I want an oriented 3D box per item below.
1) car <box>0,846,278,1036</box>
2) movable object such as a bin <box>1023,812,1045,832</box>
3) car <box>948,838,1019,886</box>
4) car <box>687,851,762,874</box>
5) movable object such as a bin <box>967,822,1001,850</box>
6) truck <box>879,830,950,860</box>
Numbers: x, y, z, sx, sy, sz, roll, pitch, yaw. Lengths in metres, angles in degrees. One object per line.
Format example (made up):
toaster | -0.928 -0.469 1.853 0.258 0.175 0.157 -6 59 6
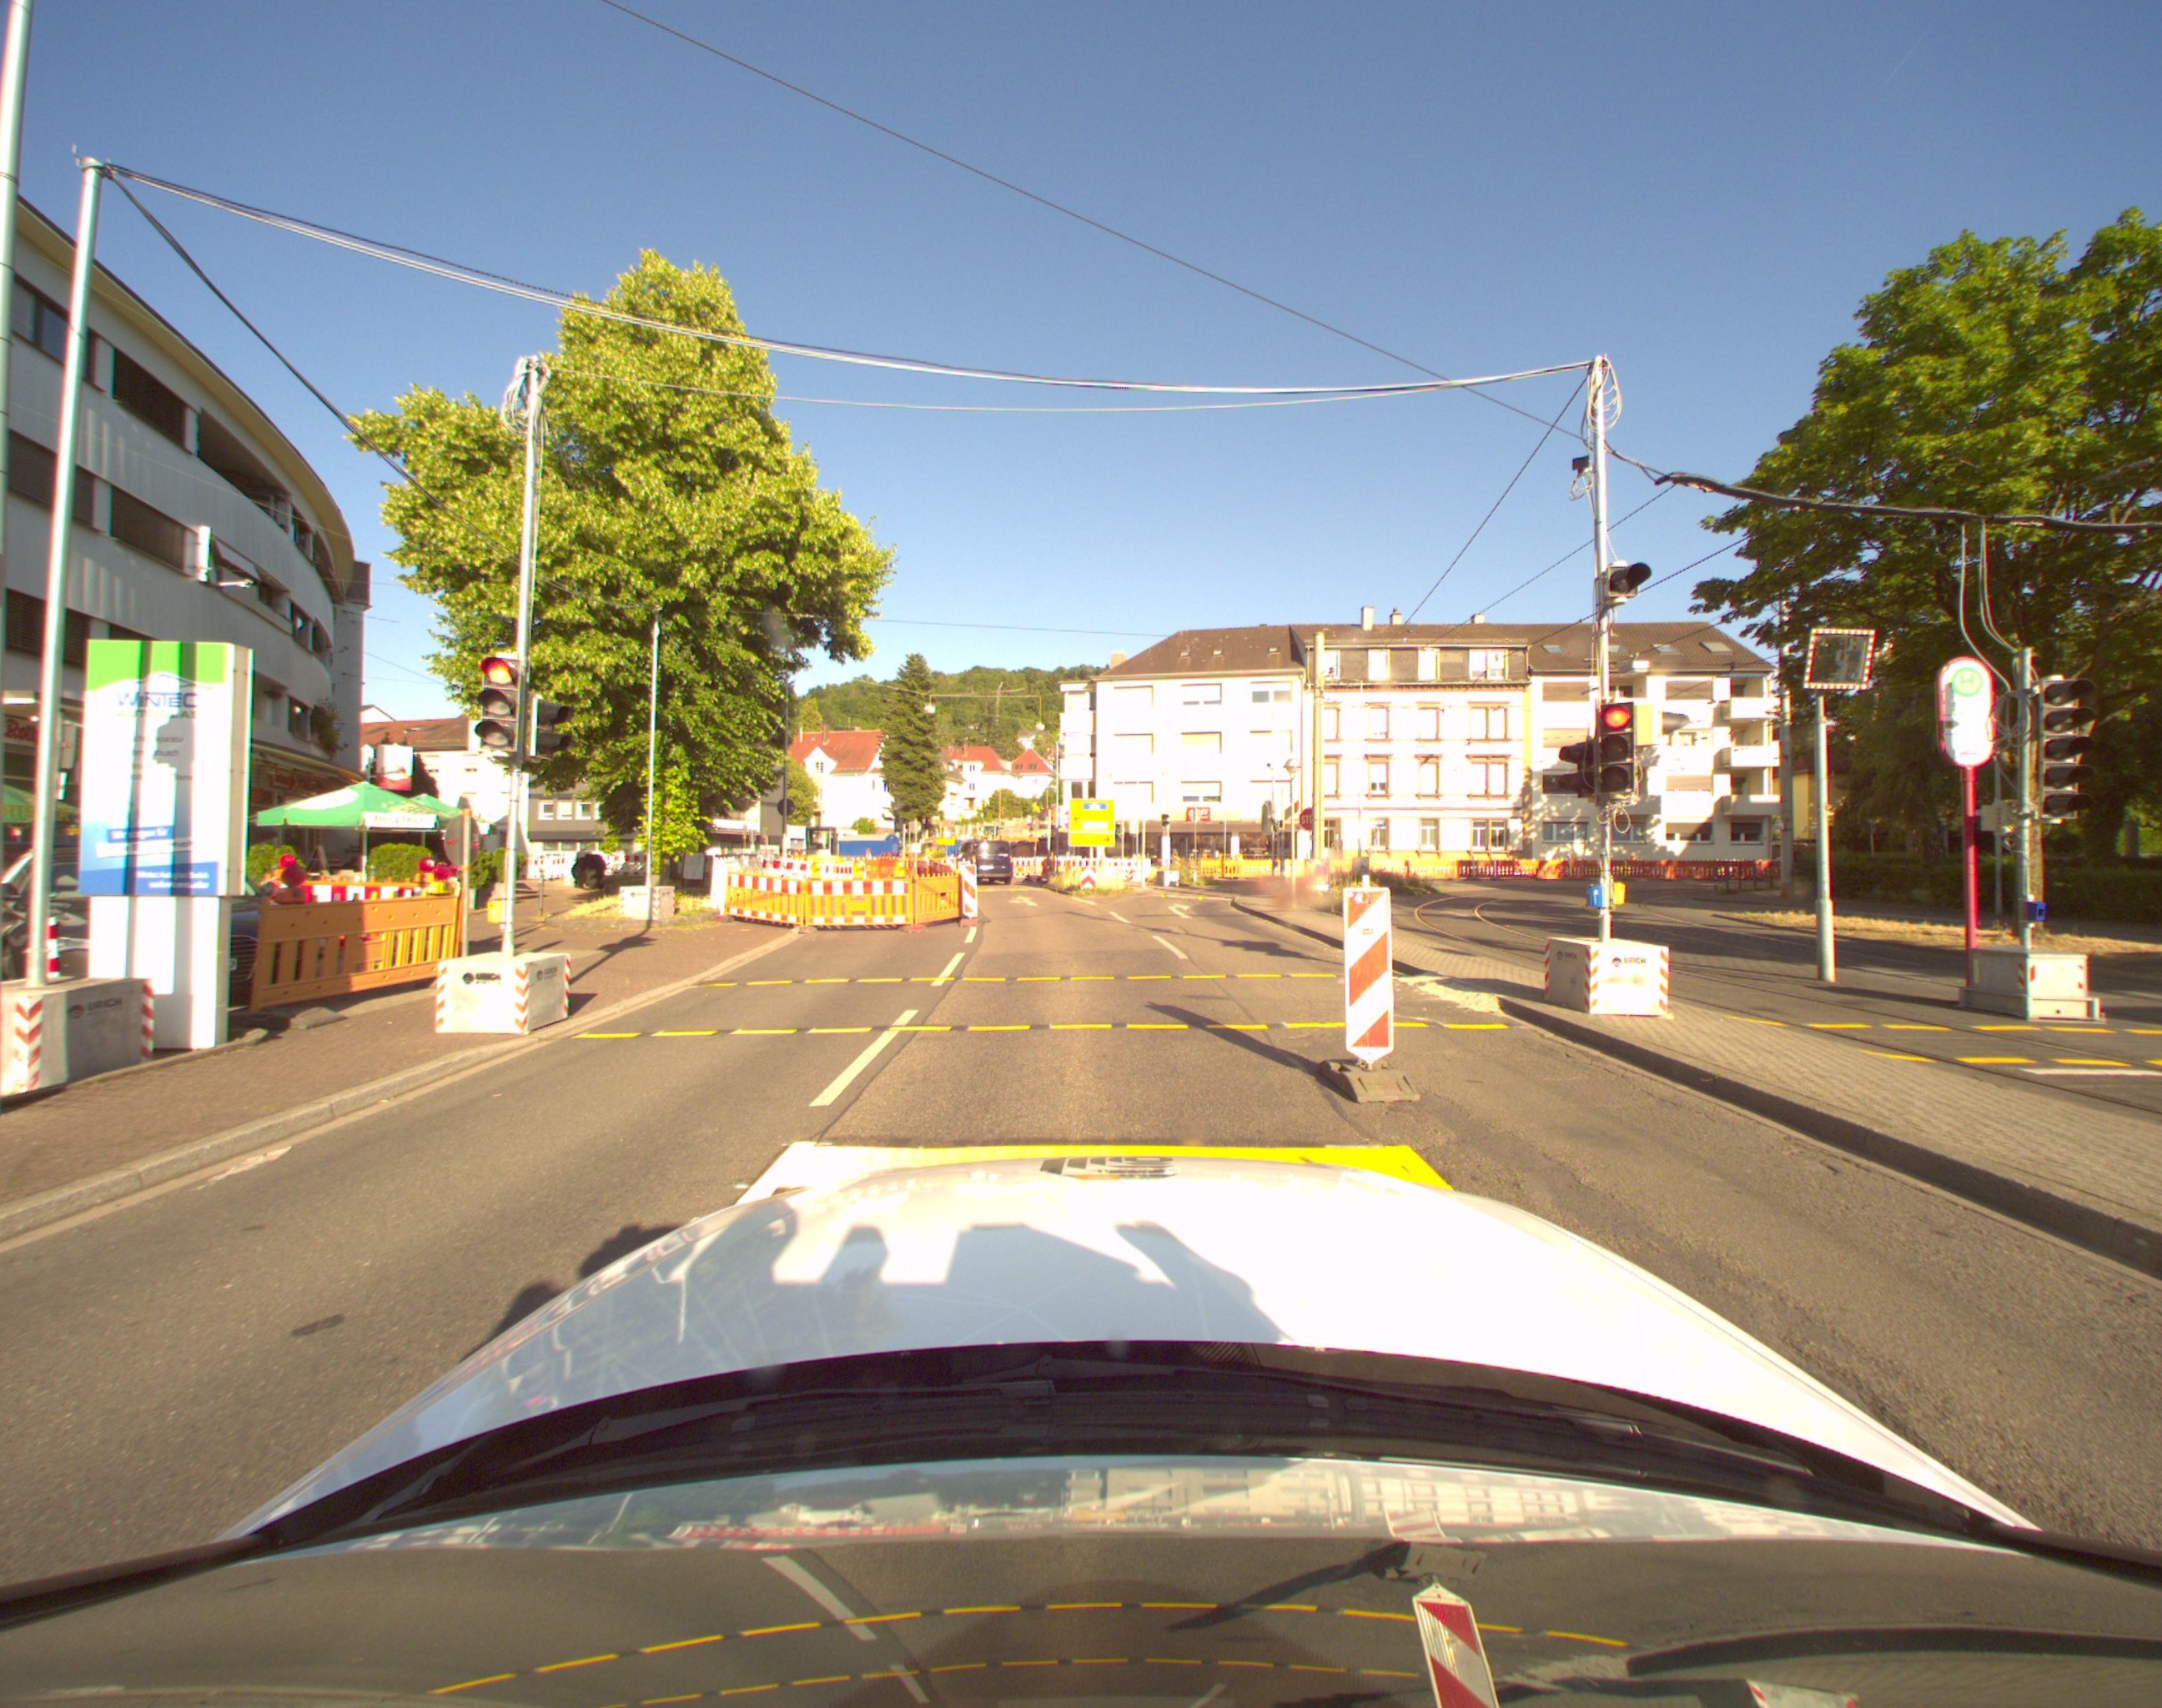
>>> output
car | -9.598 0.683 8.423 4.246 1.454 1.660 1 0 43
movable object such as a bin | -6.640 -4.526 115.043 2.176 2.690 4.013 0 0 12
car | -4.528 0.291 37.119 2.069 2.013 4.966 1 1 -20
car | -22.267 0.526 50.885 3.958 1.409 1.807 0 0 14
movable object such as a bin | -9.534 -1.724 80.506 2.176 2.690 4.013 0 0 12
truck | -14.112 -0.735 70.026 2.340 2.415 9.184 0 0 13
